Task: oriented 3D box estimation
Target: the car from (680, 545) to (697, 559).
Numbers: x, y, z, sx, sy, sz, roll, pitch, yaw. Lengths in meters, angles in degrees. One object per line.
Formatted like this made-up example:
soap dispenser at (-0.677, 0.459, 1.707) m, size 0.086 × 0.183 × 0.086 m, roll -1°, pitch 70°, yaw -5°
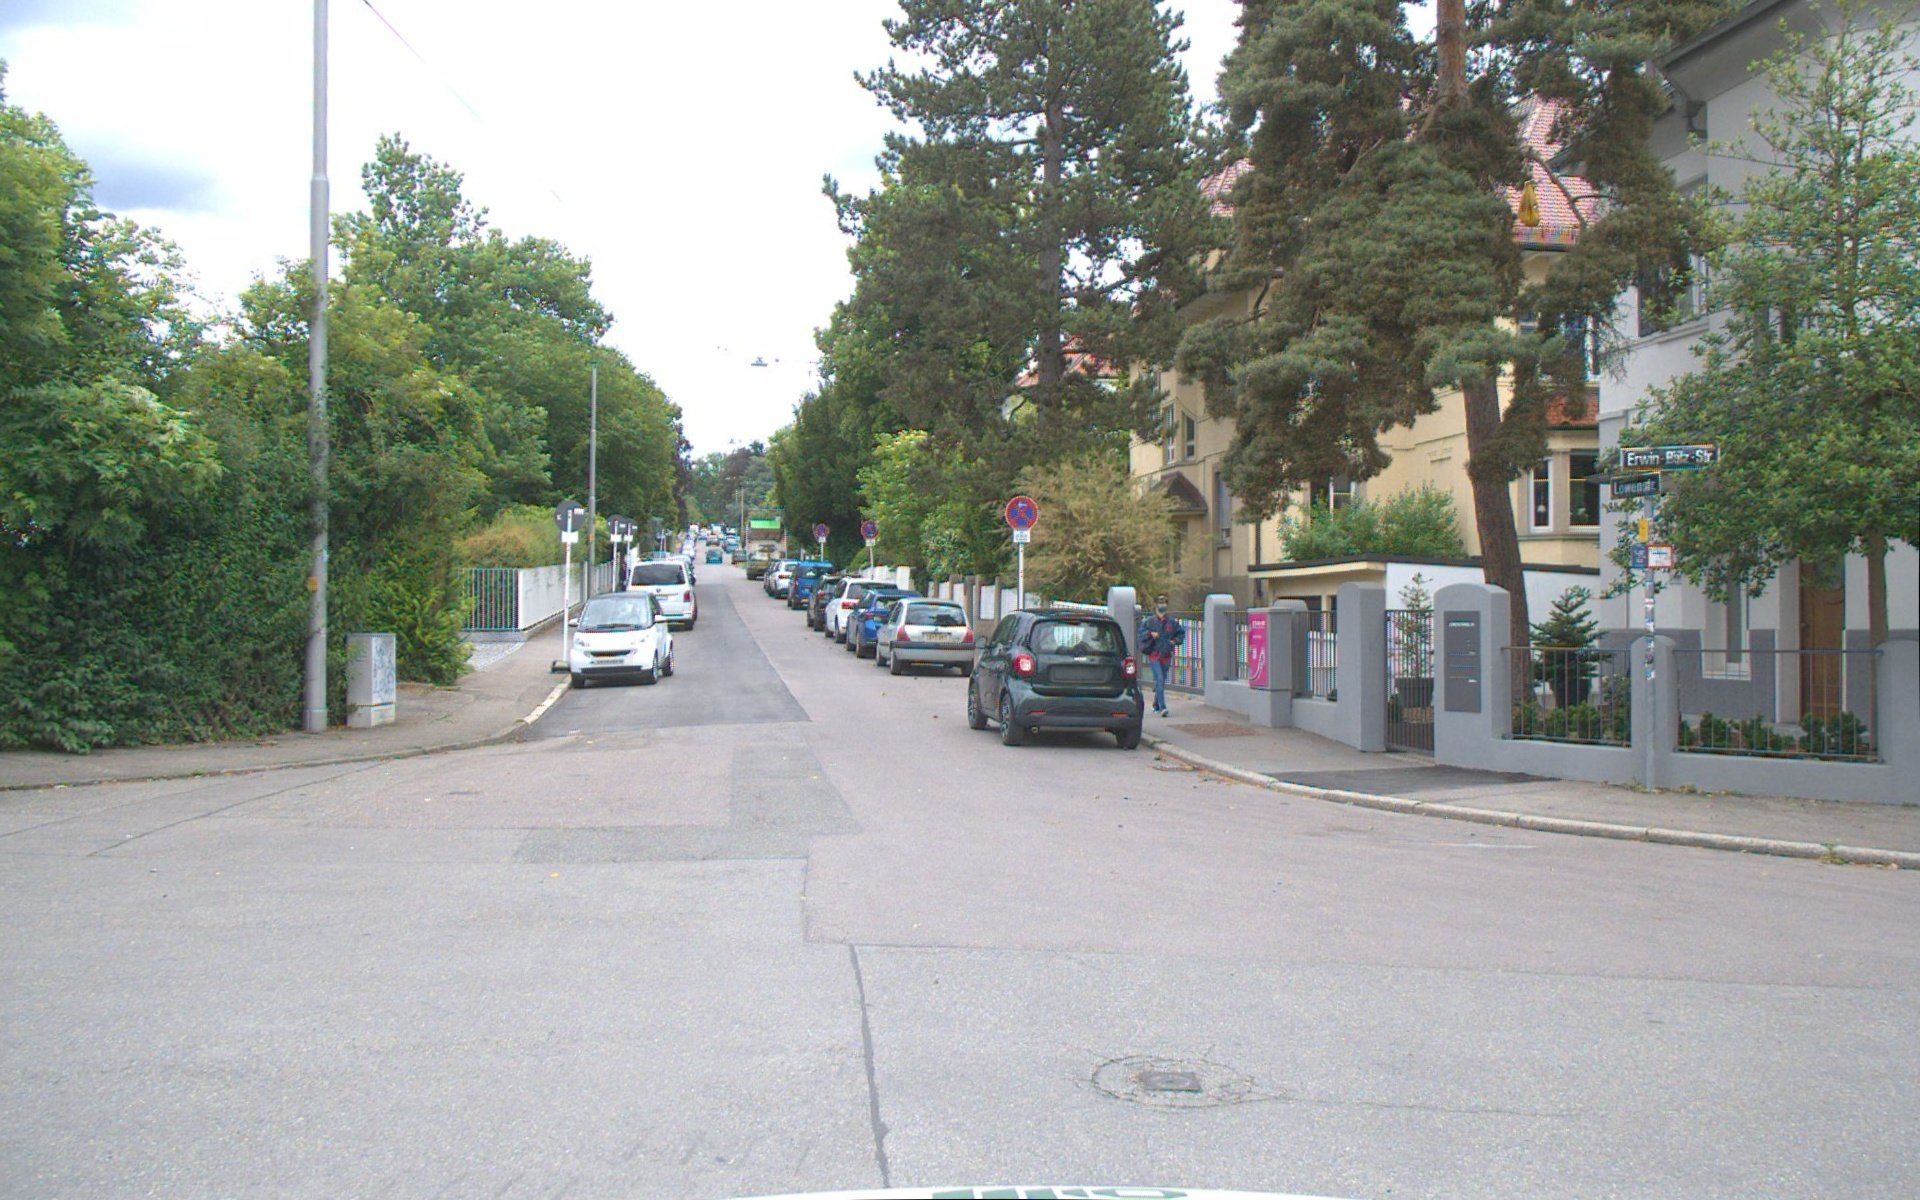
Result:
car at (-31.425, -5.544, 191.477) m, size 1.678 × 1.613 × 3.995 m, roll 1°, pitch 2°, yaw -6°

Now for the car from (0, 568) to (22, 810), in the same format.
car at (-8.787, 0.517, 10.589) m, size 1.804 × 1.684 × 4.483 m, roll 2°, pitch -1°, yaw 44°

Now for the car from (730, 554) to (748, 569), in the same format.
car at (-23.161, -4.044, 173.110) m, size 1.746 × 1.515 × 3.991 m, roll 0°, pitch 2°, yaw -10°

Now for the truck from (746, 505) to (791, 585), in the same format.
truck at (-12.137, -3.441, 104.501) m, size 2.477 × 4.830 × 7.174 m, roll 1°, pitch 1°, yaw -8°

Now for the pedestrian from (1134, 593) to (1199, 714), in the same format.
pedestrian at (2.822, 0.719, 22.663) m, size 0.667 × 1.604 × 0.906 m, roll -2°, pitch -1°, yaw -3°

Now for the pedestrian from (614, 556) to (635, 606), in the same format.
pedestrian at (-14.075, -0.802, 69.427) m, size 0.796 × 2.048 × 0.858 m, roll 1°, pitch 1°, yaw -9°

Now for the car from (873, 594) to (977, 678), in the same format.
car at (-0.733, 0.652, 32.252) m, size 1.544 × 1.424 × 3.648 m, roll 2°, pitch 1°, yaw -9°

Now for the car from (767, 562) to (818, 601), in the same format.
car at (-7.563, -0.858, 74.206) m, size 1.727 × 1.633 × 4.561 m, roll 1°, pitch 2°, yaw -13°

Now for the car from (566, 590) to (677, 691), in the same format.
car at (-5.938, 0.673, 29.283) m, size 1.414 × 1.579 × 2.769 m, roll -3°, pitch 2°, yaw -2°

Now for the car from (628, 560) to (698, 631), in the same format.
car at (-8.688, -0.179, 48.643) m, size 1.820 × 1.946 × 4.610 m, roll -2°, pitch 2°, yaw -9°

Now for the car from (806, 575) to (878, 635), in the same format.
car at (-3.555, 0.106, 49.129) m, size 1.718 × 1.636 × 4.067 m, roll 2°, pitch 1°, yaw -9°

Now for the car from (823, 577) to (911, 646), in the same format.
car at (-2.509, 0.266, 43.582) m, size 1.753 × 1.631 × 4.294 m, roll 2°, pitch 1°, yaw -10°

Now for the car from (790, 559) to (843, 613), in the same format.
car at (-5.550, -0.566, 63.502) m, size 1.652 × 1.861 × 4.148 m, roll 2°, pitch 2°, yaw -10°

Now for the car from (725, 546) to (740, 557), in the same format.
car at (-29.693, -6.363, 216.172) m, size 1.777 × 1.358 × 3.625 m, roll 2°, pitch 3°, yaw -10°

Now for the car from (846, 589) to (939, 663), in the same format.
car at (-1.569, 0.546, 37.207) m, size 1.617 × 1.484 × 4.044 m, roll 2°, pitch 1°, yaw -9°

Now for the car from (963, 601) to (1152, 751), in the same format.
car at (1.105, 0.859, 19.972) m, size 1.544 × 1.558 × 2.860 m, roll 3°, pitch 1°, yaw -12°

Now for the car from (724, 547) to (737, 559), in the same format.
car at (-31.184, -6.435, 224.853) m, size 1.756 × 1.556 × 3.728 m, roll 1°, pitch 2°, yaw -8°

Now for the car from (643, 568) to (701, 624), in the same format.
car at (-9.485, -0.170, 54.236) m, size 1.759 × 1.651 × 4.332 m, roll -1°, pitch 2°, yaw -11°

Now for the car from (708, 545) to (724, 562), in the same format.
car at (-26.056, -4.985, 176.307) m, size 1.604 × 1.730 × 3.487 m, roll 1°, pitch 2°, yaw -10°
